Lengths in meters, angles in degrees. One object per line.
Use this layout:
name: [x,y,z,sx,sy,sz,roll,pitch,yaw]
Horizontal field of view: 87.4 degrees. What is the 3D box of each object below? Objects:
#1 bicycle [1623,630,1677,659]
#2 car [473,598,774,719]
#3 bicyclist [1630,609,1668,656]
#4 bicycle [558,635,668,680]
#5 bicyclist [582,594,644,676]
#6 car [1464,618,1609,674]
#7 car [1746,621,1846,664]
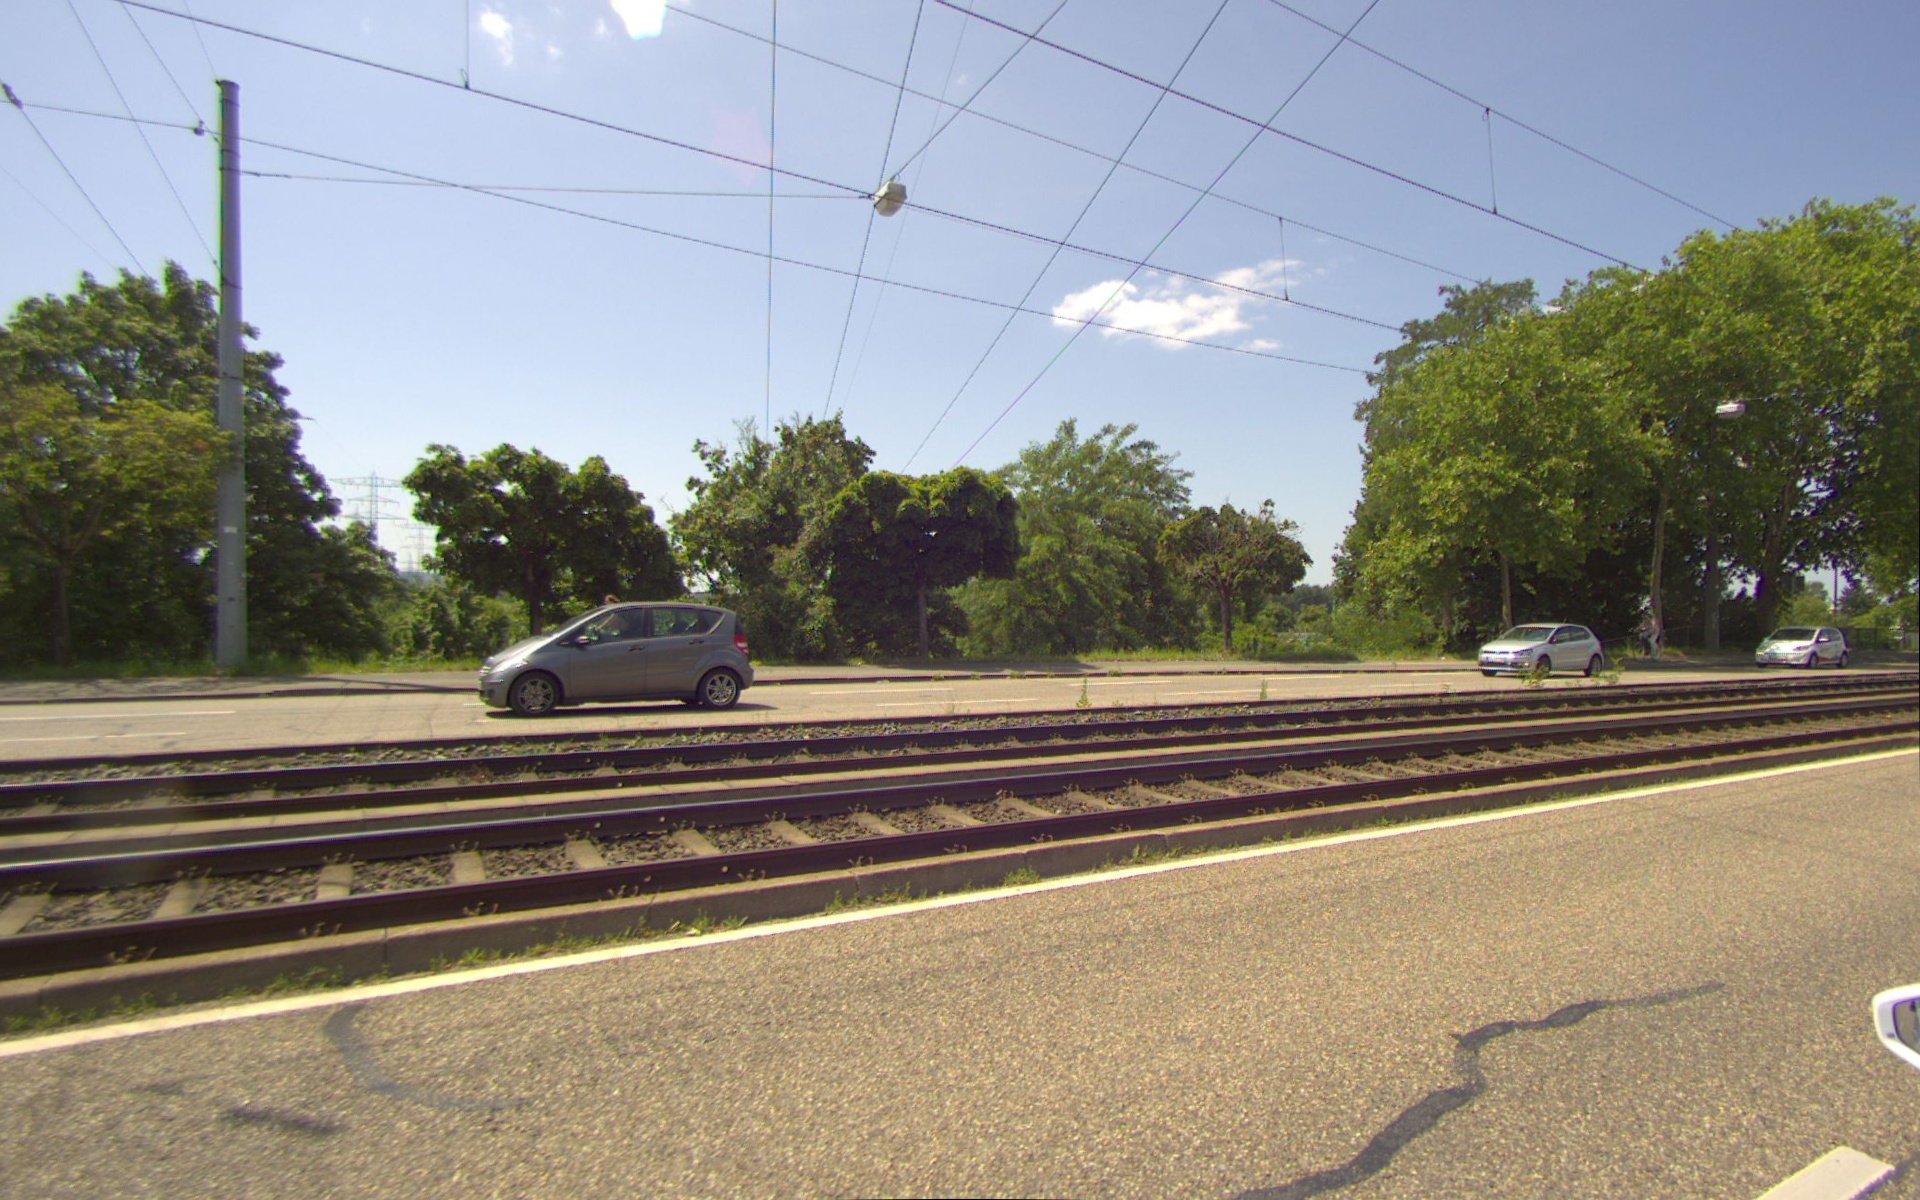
bicycle: [25.070,1.623,36.500,2.026,0.993,0.621,1,2,-25]
car: [-4.903,0.807,14.763,3.912,1.555,1.743,1,-2,-31]
bicyclist: [24.994,1.170,36.440,1.047,1.639,0.621,1,2,-24]
bicycle: [-7.219,1.179,20.905,2.093,0.871,0.648,1,1,-27]
bicyclist: [-7.223,0.723,20.895,1.140,1.642,0.648,1,1,-27]
car: [15.838,1.232,27.540,4.078,1.440,1.629,1,-2,-30]
car: [29.679,1.501,35.646,3.679,1.455,1.628,1,-2,-31]
